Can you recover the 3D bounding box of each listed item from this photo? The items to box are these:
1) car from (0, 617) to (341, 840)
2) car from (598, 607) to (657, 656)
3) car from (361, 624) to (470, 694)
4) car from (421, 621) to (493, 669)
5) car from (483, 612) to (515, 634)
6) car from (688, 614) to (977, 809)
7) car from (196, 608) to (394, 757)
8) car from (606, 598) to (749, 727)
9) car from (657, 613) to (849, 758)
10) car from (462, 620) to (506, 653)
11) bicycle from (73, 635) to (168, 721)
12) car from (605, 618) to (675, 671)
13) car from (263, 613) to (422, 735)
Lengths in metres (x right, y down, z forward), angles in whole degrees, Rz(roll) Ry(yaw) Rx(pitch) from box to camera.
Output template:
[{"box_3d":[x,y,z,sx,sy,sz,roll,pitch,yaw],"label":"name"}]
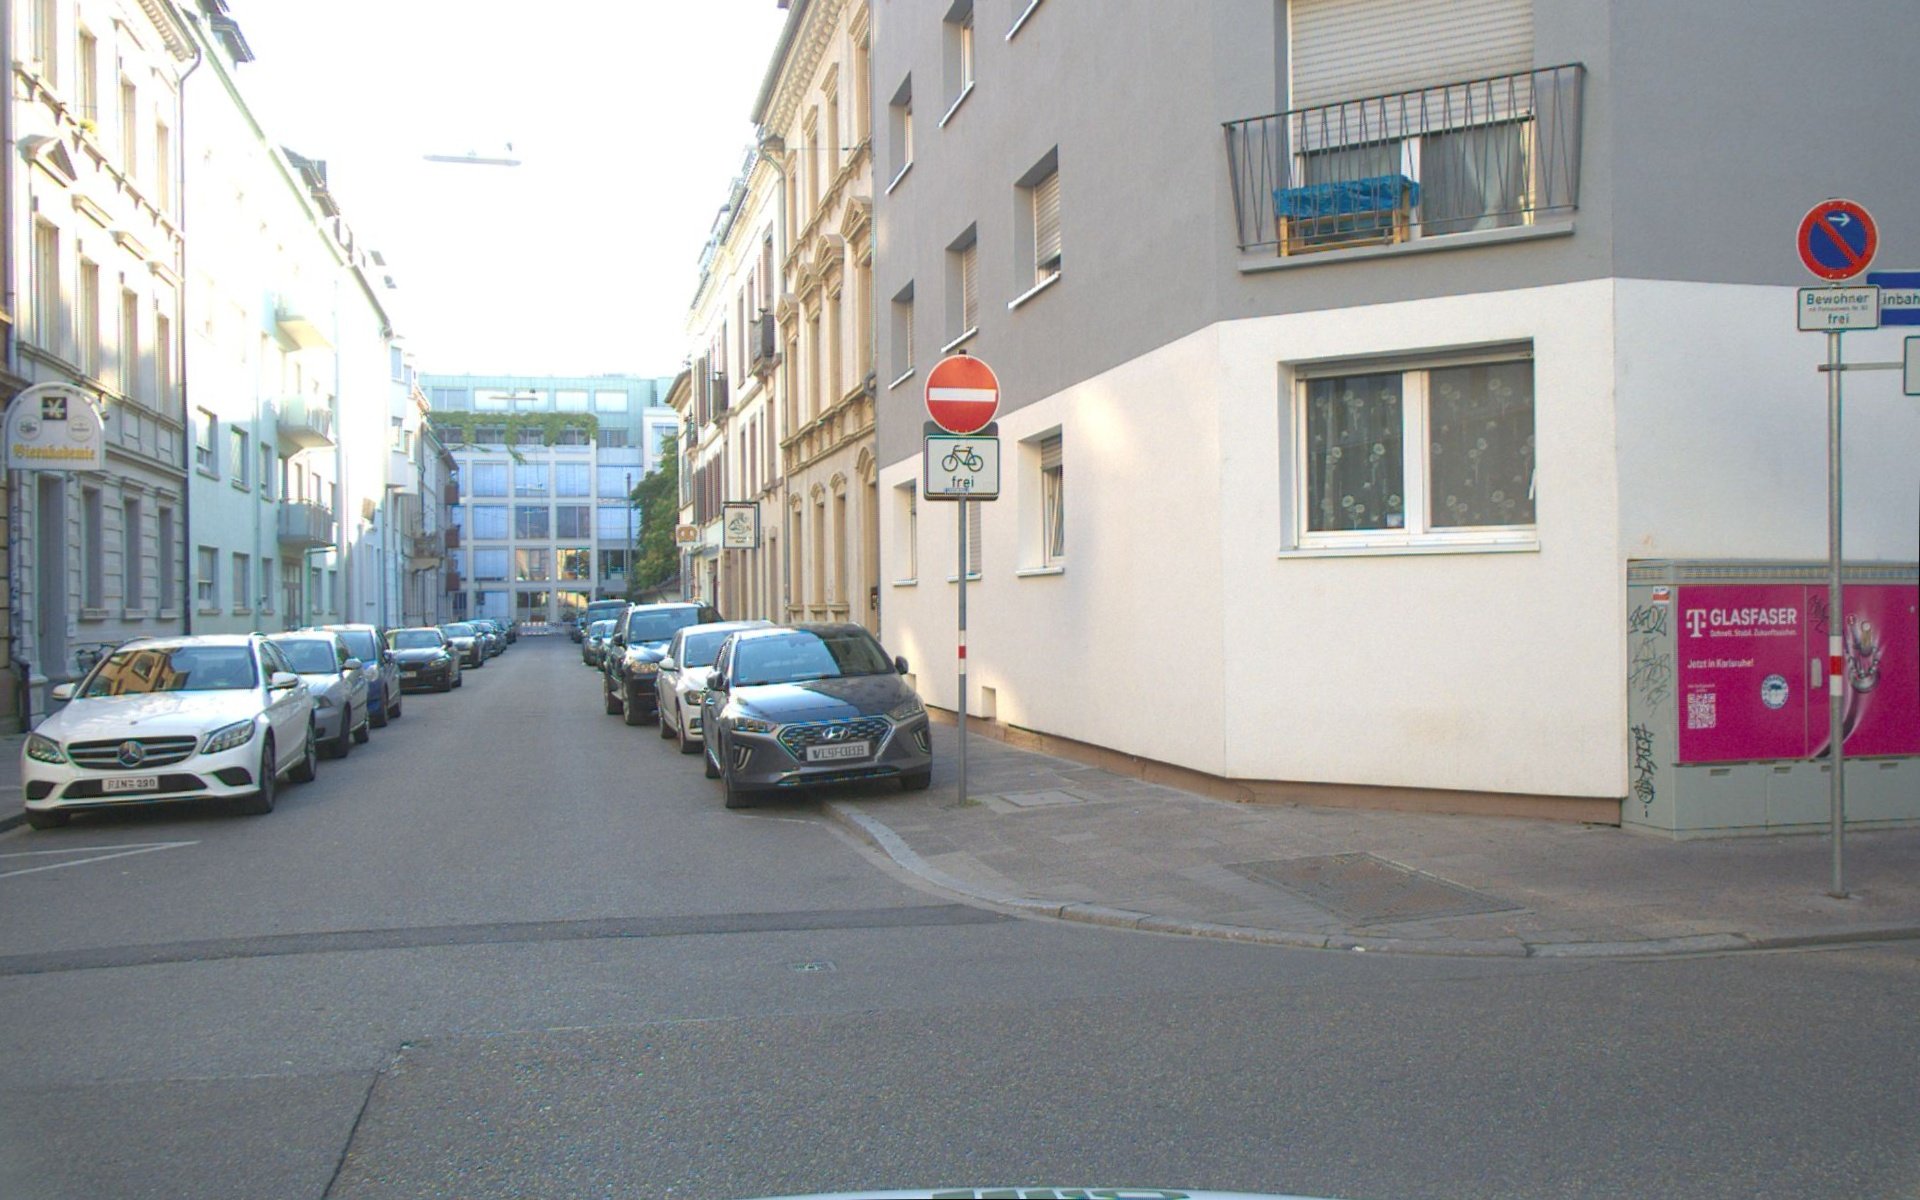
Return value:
[{"box_3d":[-6.794,0.983,14.754,1.961,1.591,4.487,-1,0,-15],"label":"car"},{"box_3d":[-12.227,1.130,60.680,1.960,1.730,3.985,0,0,-14],"label":"car"},{"box_3d":[-12.042,1.270,36.846,1.960,1.378,4.412,-1,0,-14],"label":"car"},{"box_3d":[-16.365,1.435,53.925,2.138,1.443,3.983,-1,0,-16],"label":"car"},{"box_3d":[-29.442,1.435,105.682,1.961,1.332,3.866,-1,0,-16],"label":"car"},{"box_3d":[-1.280,0.877,14.828,1.906,1.396,3.774,-3,0,-15],"label":"car"},{"box_3d":[-7.944,0.907,20.058,1.596,1.604,3.742,-1,0,-12],"label":"car"},{"box_3d":[-4.479,0.905,25.826,1.862,1.815,3.984,-1,0,-15],"label":"car"},{"box_3d":[-2.686,0.979,20.710,1.930,1.584,3.874,-1,0,-14],"label":"car"},{"box_3d":[-20.263,1.528,70.514,1.679,1.325,3.984,-1,0,-15],"label":"car"},{"box_3d":[-12.541,1.134,24.782,0.725,1.181,2.452,0,0,-14],"label":"bicycle"},{"box_3d":[-9.764,1.318,50.317,1.959,1.476,3.987,0,0,-13],"label":"car"},{"box_3d":[-9.449,1.067,25.575,1.754,1.688,3.804,-1,0,-12],"label":"car"}]
